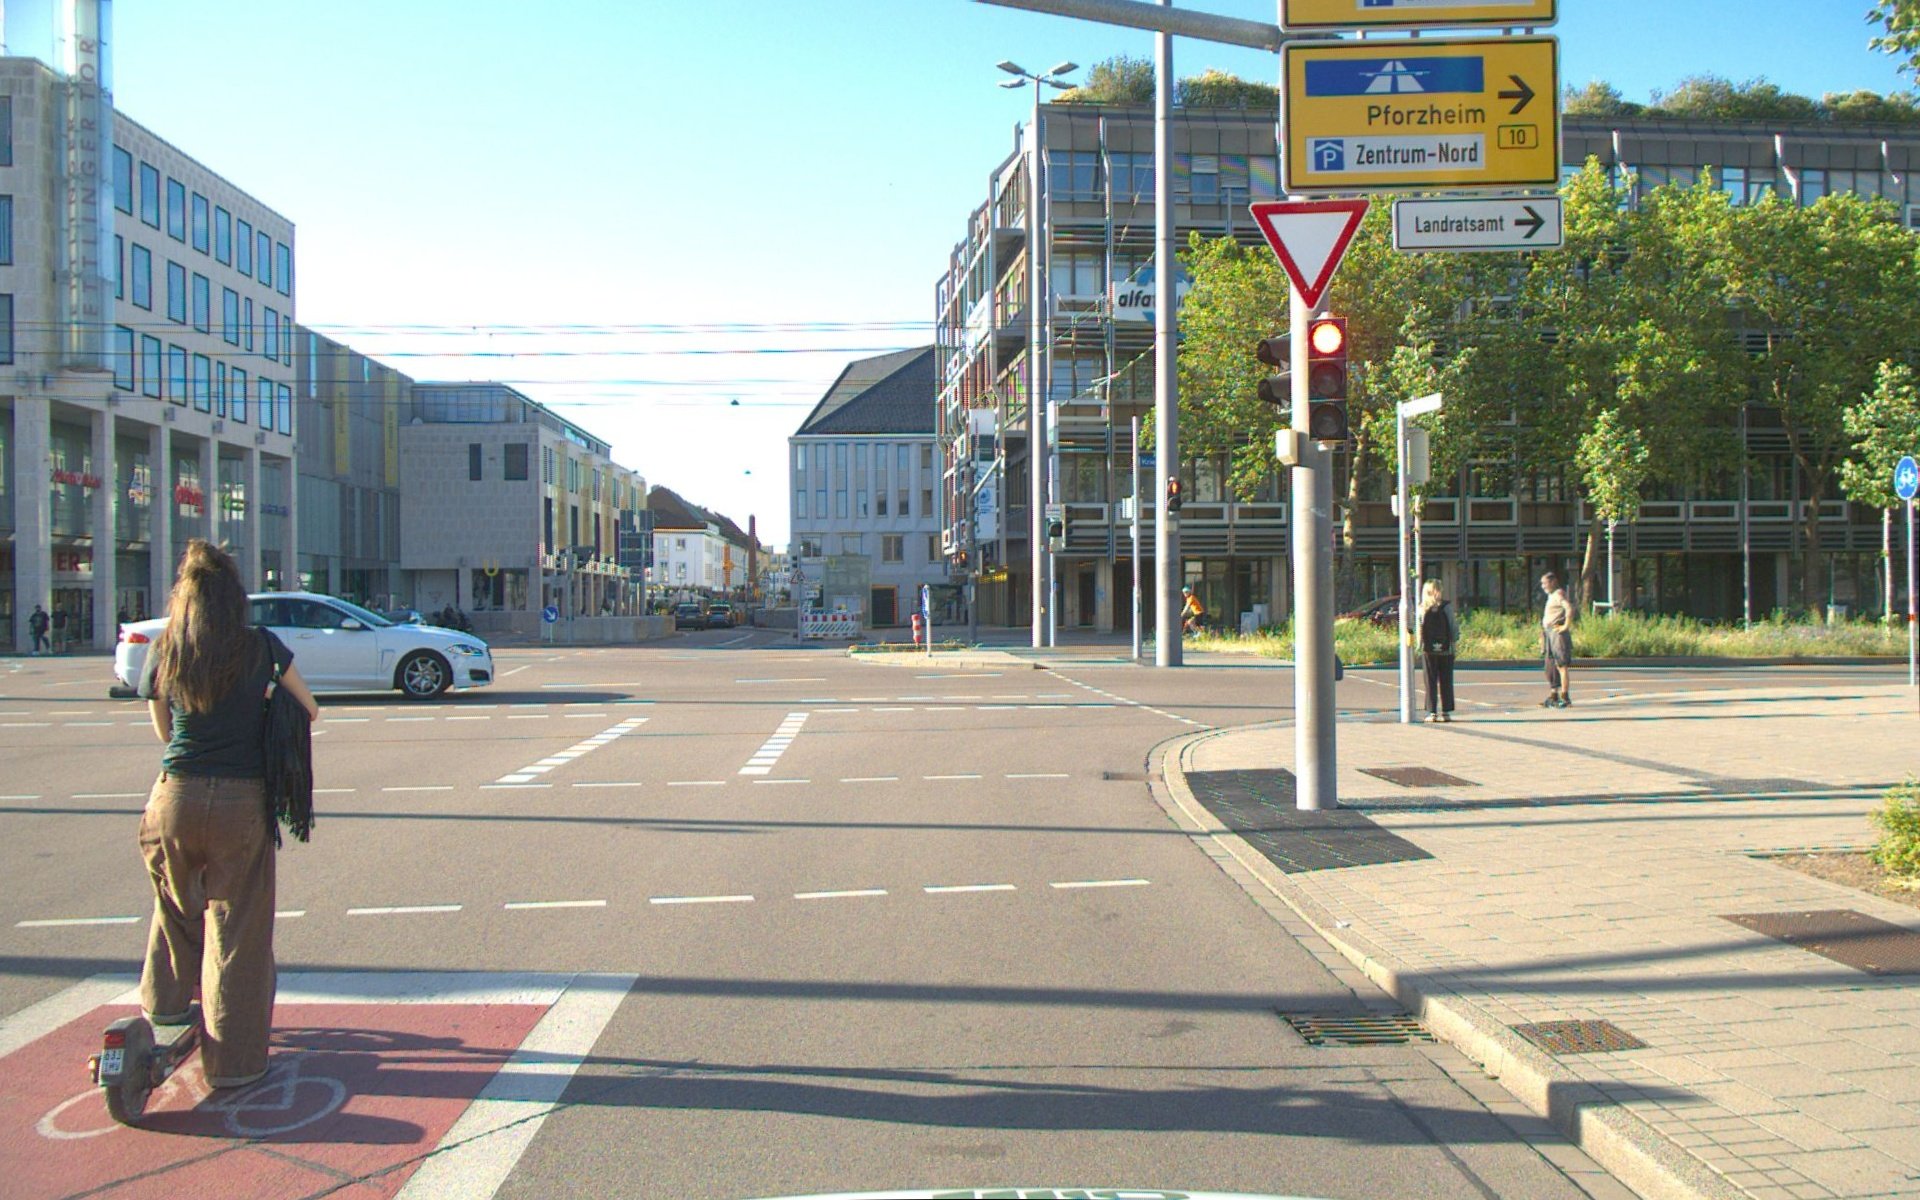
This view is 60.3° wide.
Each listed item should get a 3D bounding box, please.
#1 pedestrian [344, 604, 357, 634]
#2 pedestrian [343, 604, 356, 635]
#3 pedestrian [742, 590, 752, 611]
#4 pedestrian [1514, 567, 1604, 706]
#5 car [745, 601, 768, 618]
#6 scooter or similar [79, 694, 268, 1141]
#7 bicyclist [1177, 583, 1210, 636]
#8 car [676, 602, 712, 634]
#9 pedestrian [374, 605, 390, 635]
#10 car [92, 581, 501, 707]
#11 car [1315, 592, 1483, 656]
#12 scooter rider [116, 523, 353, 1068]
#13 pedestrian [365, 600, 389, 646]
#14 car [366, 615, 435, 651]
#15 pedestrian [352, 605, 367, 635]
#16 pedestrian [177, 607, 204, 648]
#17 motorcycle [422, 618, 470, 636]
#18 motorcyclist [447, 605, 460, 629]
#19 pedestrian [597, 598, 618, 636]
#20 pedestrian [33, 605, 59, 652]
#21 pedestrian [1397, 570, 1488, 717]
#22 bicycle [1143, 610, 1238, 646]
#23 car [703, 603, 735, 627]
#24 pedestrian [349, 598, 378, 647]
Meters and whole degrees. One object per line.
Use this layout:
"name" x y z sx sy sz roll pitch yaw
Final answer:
"pedestrian" -36.231 1.138 98.375 0.462 1.759 0.518 0 -1 38
"pedestrian" -35.841 1.139 97.072 0.462 1.759 0.518 0 -1 38
"pedestrian" -21.162 0.048 164.365 0.892 1.999 0.822 1 -1 -1
"pedestrian" 7.680 0.455 21.229 0.854 1.736 0.768 -1 0 -3
"car" -17.905 0.830 145.632 1.625 1.484 3.541 -1 0 -1
"scooter or similar" -2.265 0.864 4.816 0.301 1.127 0.836 -1 0 -12
"bicyclist" 6.667 0.278 47.228 0.806 1.500 0.652 -1 0 -5
"car" -14.928 0.973 92.844 1.785 1.713 3.994 -1 0 -7
"pedestrian" -33.737 1.173 96.511 0.462 1.759 0.692 0 -1 37
"car" -8.982 0.553 22.893 4.999 1.592 1.992 -1 0 -15
"car" 12.340 0.649 46.601 4.212 1.713 1.820 -1 0 -11
"scooter rider" -2.173 0.555 4.995 0.542 1.556 0.448 -1 0 -9
"pedestrian" -22.172 0.861 62.871 0.685 1.718 0.619 -1 0 0
"car" -23.483 1.366 69.540 1.642 1.381 4.019 -1 0 -2
"pedestrian" -34.715 1.152 95.584 0.462 1.759 0.626 1 -1 33
"pedestrian" -31.616 1.131 67.973 0.760 1.667 0.626 -1 0 13
"motorcycle" -30.387 1.611 97.799 2.555 1.010 1.113 1 0 -10
"motorcyclist" -30.036 0.989 98.058 0.616 1.430 0.661 1 -1 -9
"pedestrian" -17.252 0.836 80.937 0.881 1.814 0.808 0 0 -1
"pedestrian" -32.841 1.034 59.430 0.580 1.674 0.629 -1 0 -1
"pedestrian" 5.507 0.485 18.932 0.750 1.642 0.874 -1 0 -2
"bicycle" 6.562 0.796 47.211 2.517 0.992 1.047 -1 0 -4
"car" -15.706 0.962 107.827 1.625 1.484 3.541 -1 0 -1
"pedestrian" -23.096 0.872 64.033 0.923 1.897 0.539 -1 0 16
